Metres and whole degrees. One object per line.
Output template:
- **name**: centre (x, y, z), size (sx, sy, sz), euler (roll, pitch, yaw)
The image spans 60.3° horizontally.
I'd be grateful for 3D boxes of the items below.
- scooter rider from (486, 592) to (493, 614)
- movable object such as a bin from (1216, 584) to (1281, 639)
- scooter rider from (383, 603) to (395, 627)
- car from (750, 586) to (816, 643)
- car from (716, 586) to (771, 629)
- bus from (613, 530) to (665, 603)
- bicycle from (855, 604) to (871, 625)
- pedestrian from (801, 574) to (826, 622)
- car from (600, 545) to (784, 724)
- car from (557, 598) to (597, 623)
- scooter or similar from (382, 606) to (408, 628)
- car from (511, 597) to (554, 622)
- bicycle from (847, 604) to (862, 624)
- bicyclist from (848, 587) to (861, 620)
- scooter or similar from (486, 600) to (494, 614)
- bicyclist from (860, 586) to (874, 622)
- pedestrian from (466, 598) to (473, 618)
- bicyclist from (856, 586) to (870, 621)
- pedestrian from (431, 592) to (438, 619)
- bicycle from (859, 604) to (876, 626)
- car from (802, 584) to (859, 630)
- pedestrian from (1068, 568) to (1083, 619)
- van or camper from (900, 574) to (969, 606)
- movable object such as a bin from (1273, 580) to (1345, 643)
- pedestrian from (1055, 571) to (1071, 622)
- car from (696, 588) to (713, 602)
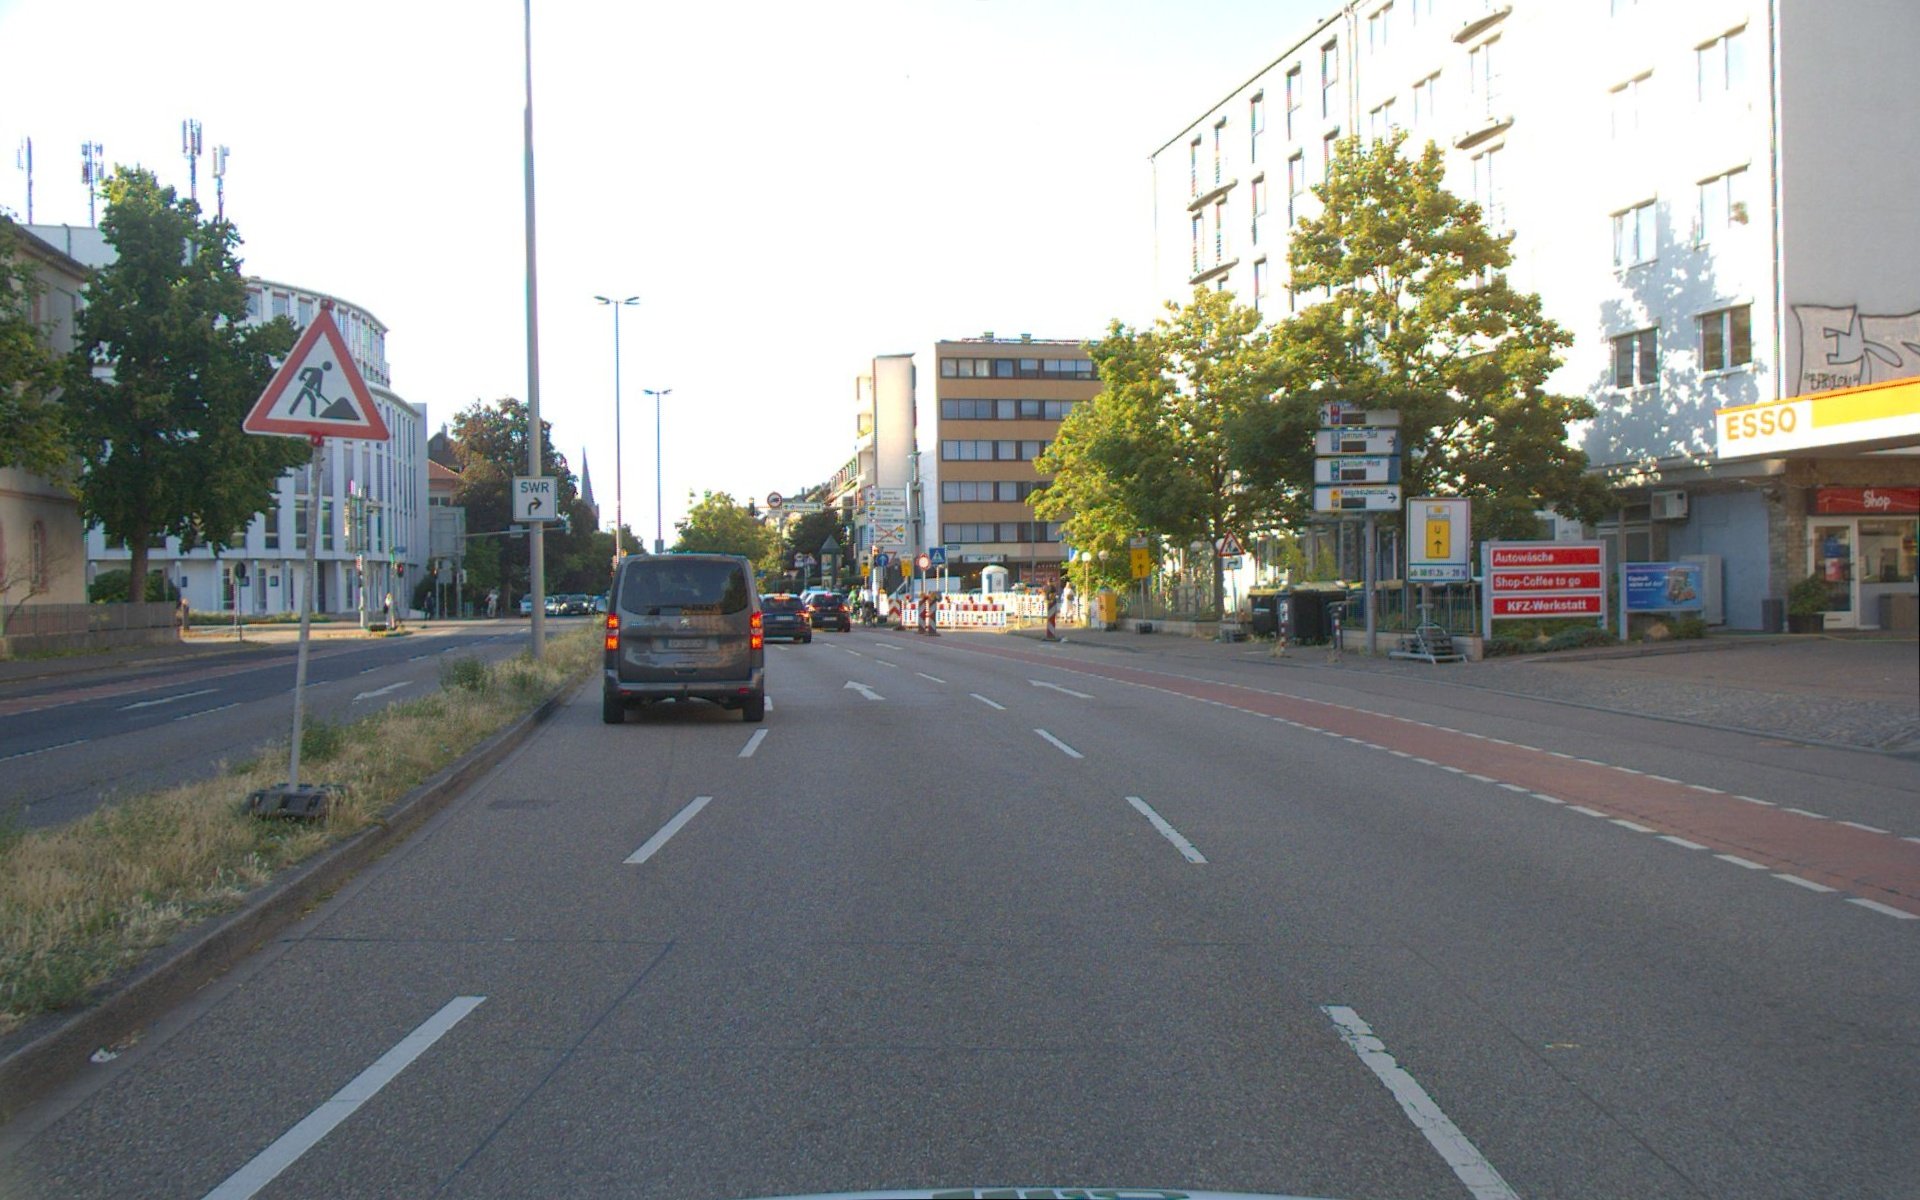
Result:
- **scooter rider**: centre (-30.801, 0.180, 108.326), size (0.348, 1.397, 0.336), euler (-1, 0, -9)
- **movable object such as a bin**: centre (7.701, 0.295, 44.271), size (1.433, 1.410, 1.547), euler (-1, 0, -1)
- **scooter rider**: centre (-25.221, 0.642, 73.093), size (0.501, 1.054, 0.444), euler (0, 0, -20)
- **car**: centre (-5.225, 0.403, 49.046), size (1.809, 1.571, 3.628), euler (-1, 1, -5)
- **car**: centre (-9.022, 0.279, 68.739), size (1.958, 1.685, 4.287), euler (-1, 0, -12)
- **bus**: centre (-21.844, -2.169, 112.285), size (3.232, 4.698, 9.969), euler (0, 0, -12)
- **bicycle**: centre (-4.206, 0.620, 71.753), size (0.523, 0.862, 1.680), euler (-1, 0, -8)
- **pedestrian**: centre (-6.311, -0.070, 71.011), size (0.999, 2.049, 1.095), euler (0, 0, -9)
- **car**: centre (-3.314, 0.348, 20.220), size (1.958, 1.934, 4.288), euler (1, 1, -11)
- **car**: centre (-26.380, 0.726, 114.081), size (1.953, 1.623, 3.998), euler (-1, 1, -2)
- **scooter or similar**: centre (-25.007, 0.754, 73.161), size (1.082, 0.993, 0.556), euler (0, 0, -19)
- **car**: centre (-29.195, 0.638, 113.062), size (1.953, 1.623, 3.998), euler (-1, 1, -2)
- **bicycle**: centre (-4.731, 0.615, 74.229), size (0.523, 0.862, 1.680), euler (-1, 0, -8)
- **bicyclist**: centre (-4.741, 0.146, 74.204), size (0.531, 1.485, 0.640), euler (-1, 0, -9)
- **scooter or similar**: centre (-30.802, 0.477, 108.383), size (0.351, 0.911, 0.903), euler (-1, 0, -8)
- **bicyclist**: centre (-3.914, 0.153, 69.576), size (0.531, 1.485, 0.640), euler (-1, 0, -9)
- **pedestrian**: centre (-32.531, 0.547, 109.695), size (0.347, 1.313, 0.378), euler (-1, 0, -9)
- **bicyclist**: centre (-4.216, 0.149, 71.741), size (0.531, 1.485, 0.640), euler (-1, 0, -9)
- **pedestrian**: centre (-32.129, 0.336, 101.137), size (0.369, 1.688, 0.567), euler (-1, 0, -16)
- **bicycle**: centre (-3.896, 0.629, 69.555), size (0.523, 0.862, 1.680), euler (-1, 0, -8)
- **car**: centre (-5.050, 0.246, 64.015), size (1.956, 1.685, 4.291), euler (-1, 0, -8)
- **pedestrian**: centre (4.766, -0.269, 68.197), size (0.481, 2.049, 0.663), euler (-1, 0, -5)
- **van or camper**: centre (-1.690, -0.707, 111.739), size (4.469, 2.049, 2.001), euler (-1, 0, 3)
- **movable object such as a bin**: centre (8.622, 0.273, 40.928), size (1.433, 1.479, 1.547), euler (-1, 0, -1)
- **pedestrian**: centre (4.228, -0.142, 68.005), size (0.482, 2.049, 0.663), euler (-1, 0, -10)
- **car**: centre (-33.356, -0.688, 215.640), size (1.817, 1.738, 3.712), euler (-1, 0, -14)
